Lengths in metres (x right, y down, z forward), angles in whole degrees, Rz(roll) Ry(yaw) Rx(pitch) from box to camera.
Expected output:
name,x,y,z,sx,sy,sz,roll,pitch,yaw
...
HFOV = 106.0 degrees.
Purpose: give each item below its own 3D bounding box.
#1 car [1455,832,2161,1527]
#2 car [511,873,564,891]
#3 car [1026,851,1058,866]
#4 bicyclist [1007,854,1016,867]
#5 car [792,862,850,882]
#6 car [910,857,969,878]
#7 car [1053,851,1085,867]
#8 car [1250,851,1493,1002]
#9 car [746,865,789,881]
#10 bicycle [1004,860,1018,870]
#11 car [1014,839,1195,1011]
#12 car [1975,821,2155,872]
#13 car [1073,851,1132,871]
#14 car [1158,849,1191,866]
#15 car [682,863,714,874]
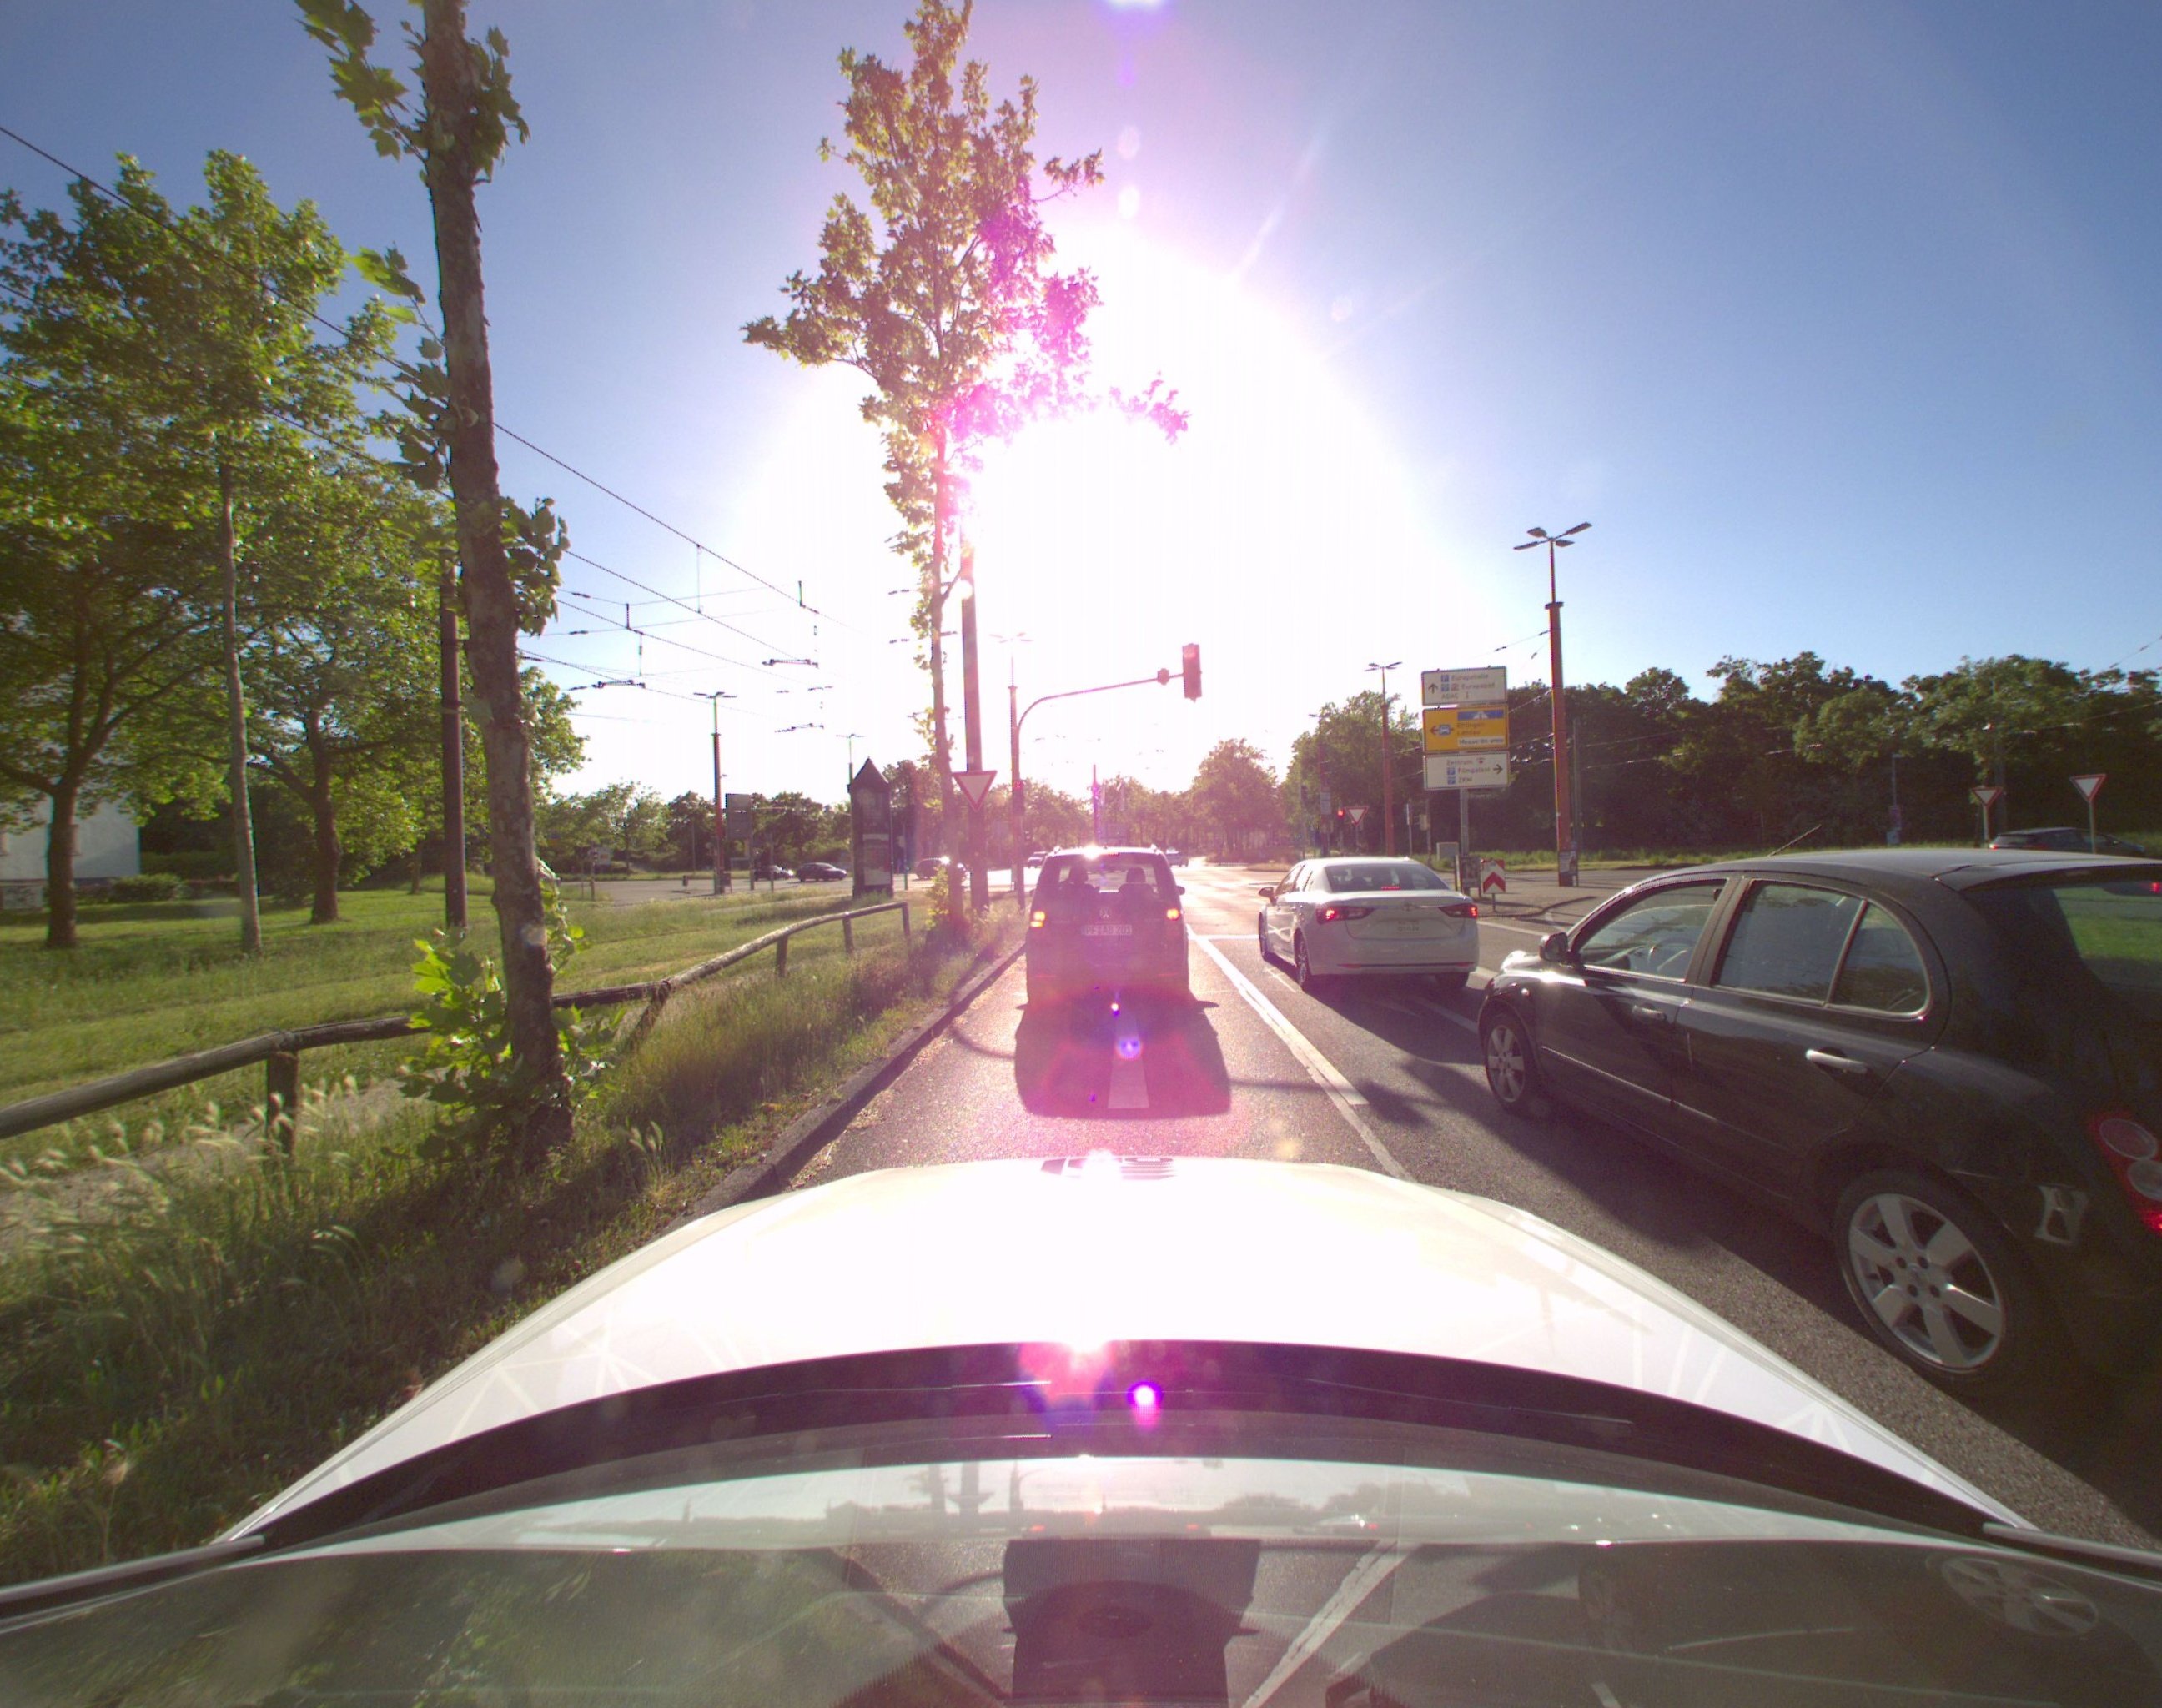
name,x,y,z,sx,sy,sz,roll,pitch,yaw
car,3.168,0.696,3.521,1.550,1.506,3.517,-2,0,2
car,-50.069,2.567,74.994,4.589,1.543,2.012,-2,0,26
car,-4.458,0.498,93.533,1.977,1.684,4.853,-2,0,20
bicyclist,-8.114,0.763,95.022,0.686,1.457,0.879,-2,-1,20
car,-20.906,1.455,65.488,4.187,1.464,1.925,-2,0,26
car,-10.786,1.000,62.244,4.020,1.464,1.918,-2,0,7
car,-1.321,0.518,91.889,1.977,1.684,4.853,-2,0,20
car,3.298,0.721,10.125,1.708,1.454,4.147,-2,0,3
car,-27.949,1.701,72.532,3.765,1.310,1.753,-2,0,34
bicycle,-8.145,1.230,94.801,0.728,1.090,1.971,-2,0,21
car,0.297,0.698,9.997,1.731,1.641,4.002,-2,0,2
car,31.683,-0.234,26.287,3.871,1.469,1.749,-2,0,-4
car,1.727,0.550,64.969,4.388,1.464,1.895,-1,0,-31
car,8.653,0.297,75.195,1.891,1.464,4.246,-2,0,23
car,-48.280,1.800,102.645,3.766,1.310,1.673,-2,0,30
